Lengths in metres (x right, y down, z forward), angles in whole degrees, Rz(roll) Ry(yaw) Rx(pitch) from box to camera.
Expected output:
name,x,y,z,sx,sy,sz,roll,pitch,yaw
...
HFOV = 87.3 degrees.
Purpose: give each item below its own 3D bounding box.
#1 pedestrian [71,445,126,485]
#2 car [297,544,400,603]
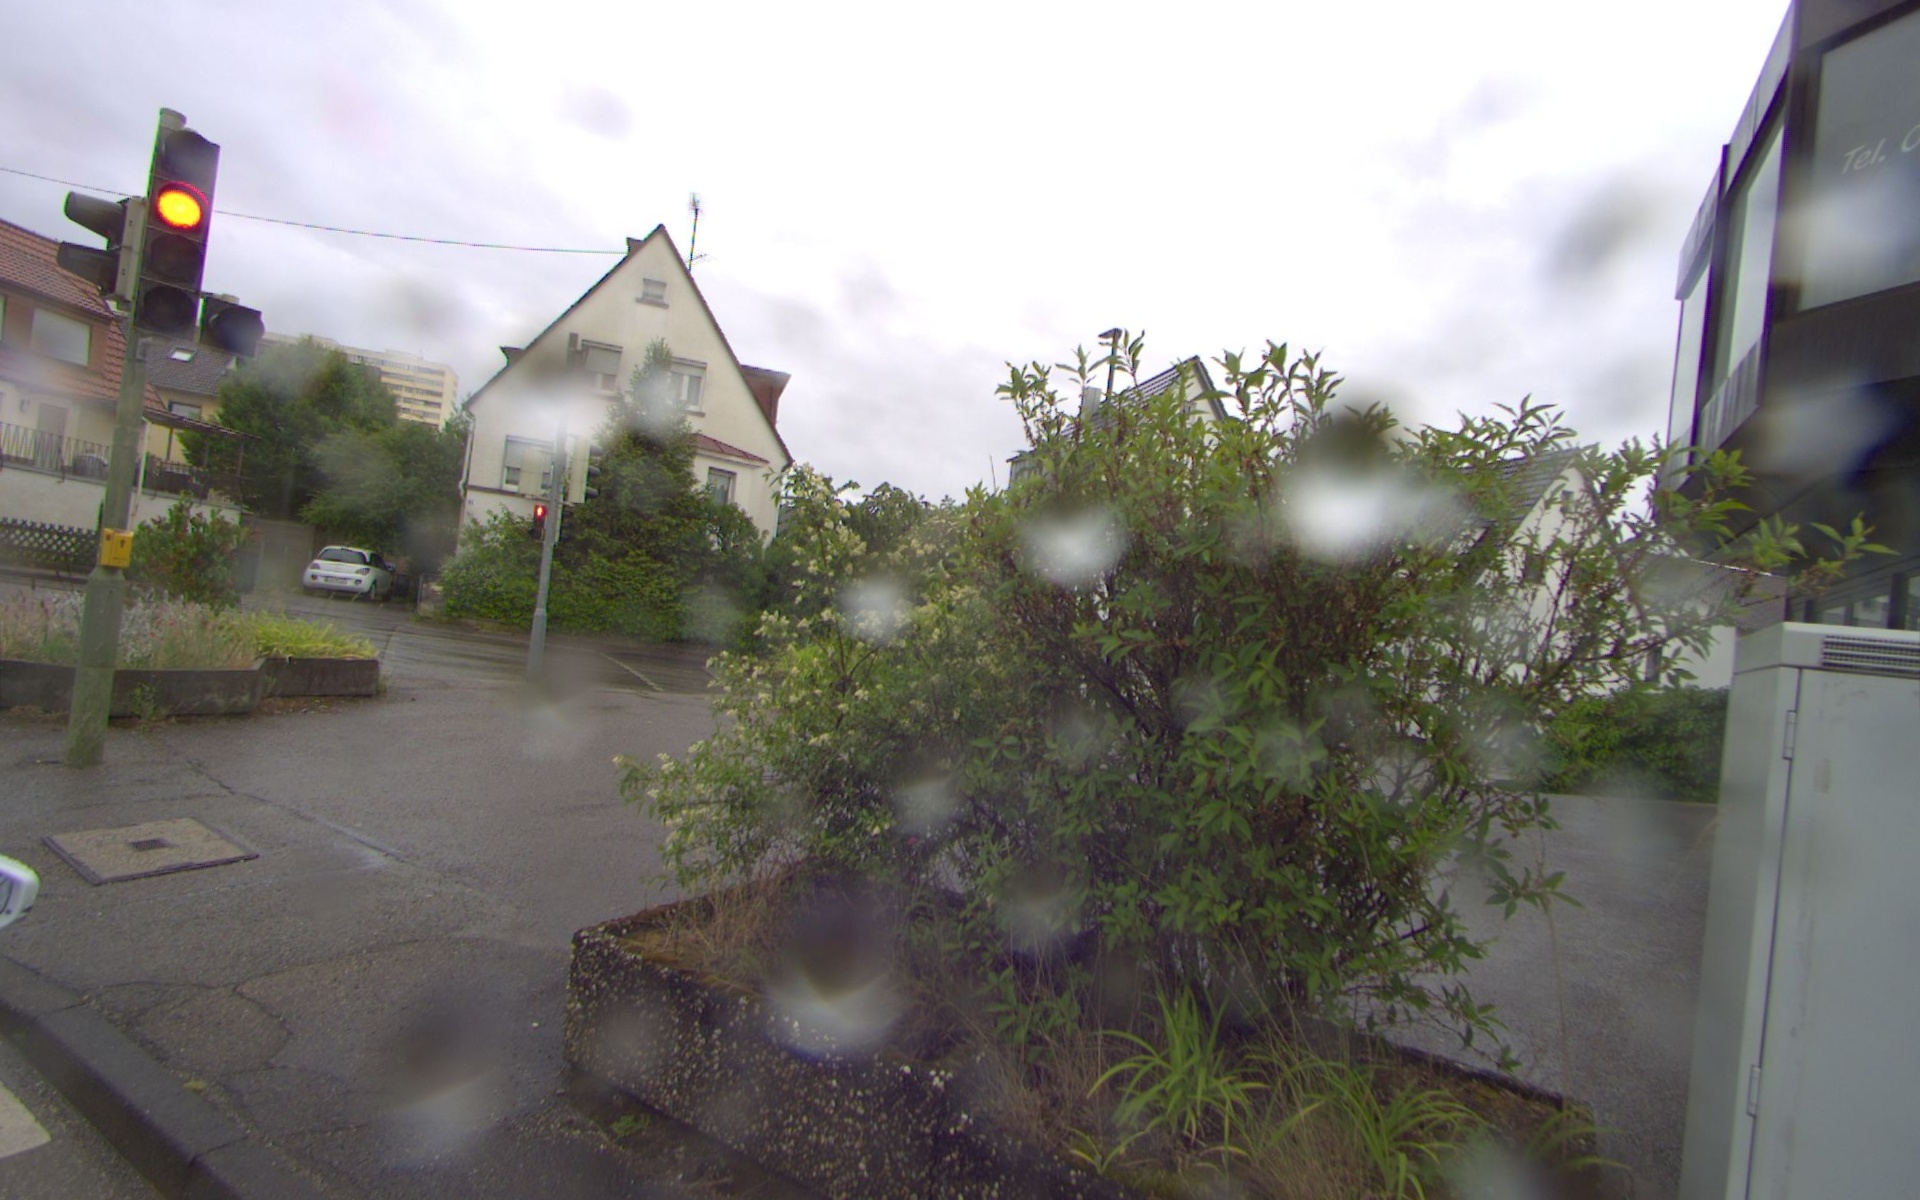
name,x,y,z,sx,sy,sz,roll,pitch,yaw
pedestrian,-24.283,-3.799,28.368,0.623,0.893,0.920,5,-2,13
car,-17.768,-0.741,29.418,1.794,1.378,3.981,8,-2,-22
